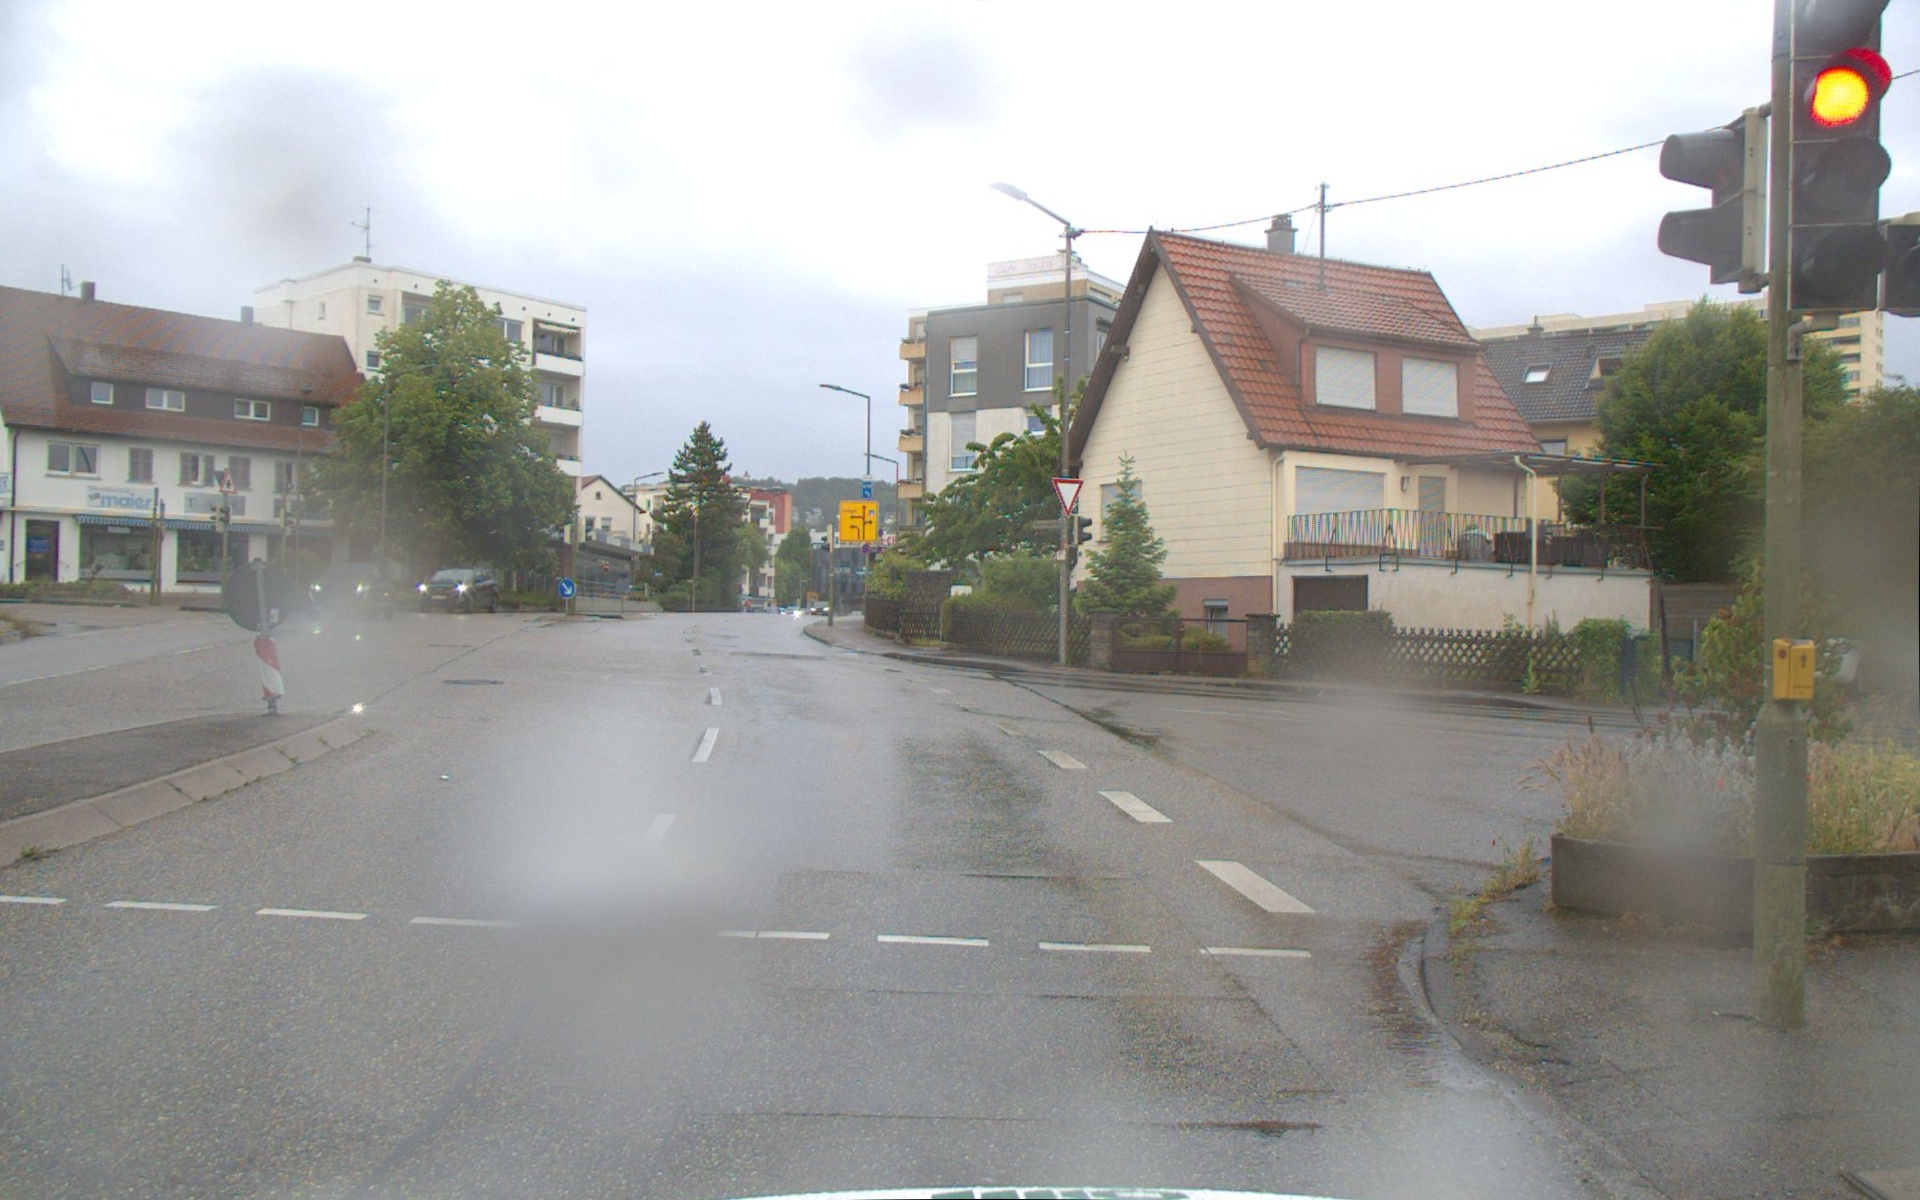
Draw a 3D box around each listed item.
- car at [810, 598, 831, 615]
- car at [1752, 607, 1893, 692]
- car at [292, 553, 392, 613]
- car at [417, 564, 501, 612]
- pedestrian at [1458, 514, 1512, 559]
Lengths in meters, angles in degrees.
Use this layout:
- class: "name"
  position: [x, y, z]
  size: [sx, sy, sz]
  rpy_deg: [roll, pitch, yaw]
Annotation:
- class: "car"
  position: [-14.651, 0.676, 173.912]
  size: [1.956, 1.768, 5.173]
  rpy_deg: [1, 0, -7]
- class: "car"
  position: [15.623, 0.857, 29.857]
  size: [1.780, 1.386, 3.986]
  rpy_deg: [1, 0, 35]
- class: "car"
  position: [-16.862, -0.438, 45.334]
  size: [1.932, 1.538, 3.988]
  rpy_deg: [1, 0, -12]
- class: "car"
  position: [-17.886, -0.406, 59.244]
  size: [1.841, 1.625, 4.182]
  rpy_deg: [1, 0, -2]
- class: "pedestrian"
  position: [11.153, -1.342, 35.158]
  size: [0.902, 0.898, 0.632]
  rpy_deg: [1, -2, -20]
